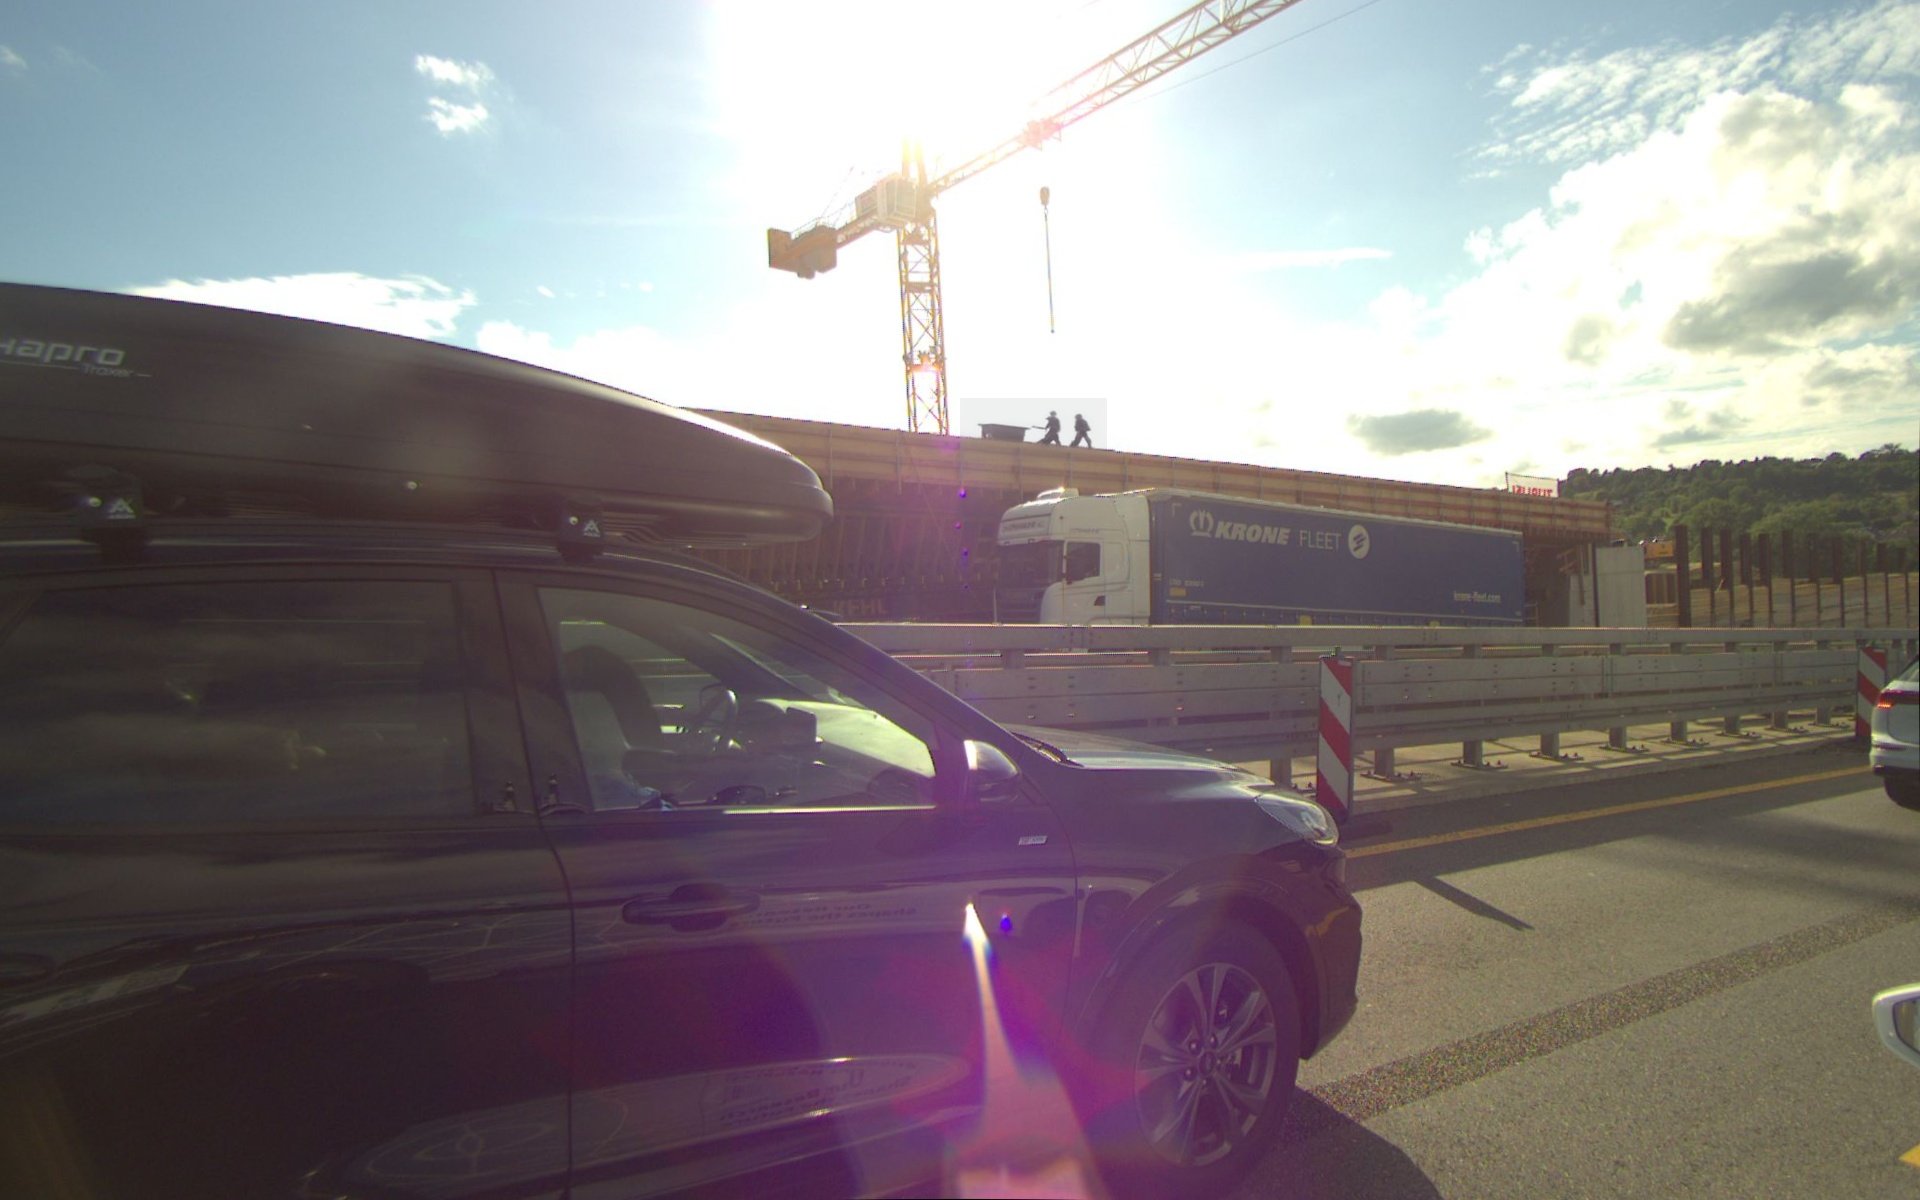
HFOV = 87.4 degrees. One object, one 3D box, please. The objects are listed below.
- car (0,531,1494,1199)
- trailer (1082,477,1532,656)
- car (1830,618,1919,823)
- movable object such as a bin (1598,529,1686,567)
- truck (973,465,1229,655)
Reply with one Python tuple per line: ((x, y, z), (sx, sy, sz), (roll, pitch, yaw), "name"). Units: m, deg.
((-0.845, 0.698, 2.512), (4.333, 1.563, 1.791), (2, 1, -30), "car")
((9.343, -0.513, 25.638), (13.372, 3.715, 2.849), (2, 0, -31), "trailer")
((9.172, 0.939, 8.175), (4.462, 1.510, 1.762), (2, -2, -29), "car")
((68.089, -5.133, 100.448), (4.438, 3.314, 5.743), (2, 0, -17), "movable object such as a bin")
((3.082, -0.717, 21.941), (4.753, 3.677, 2.829), (2, 0, -30), "truck")
